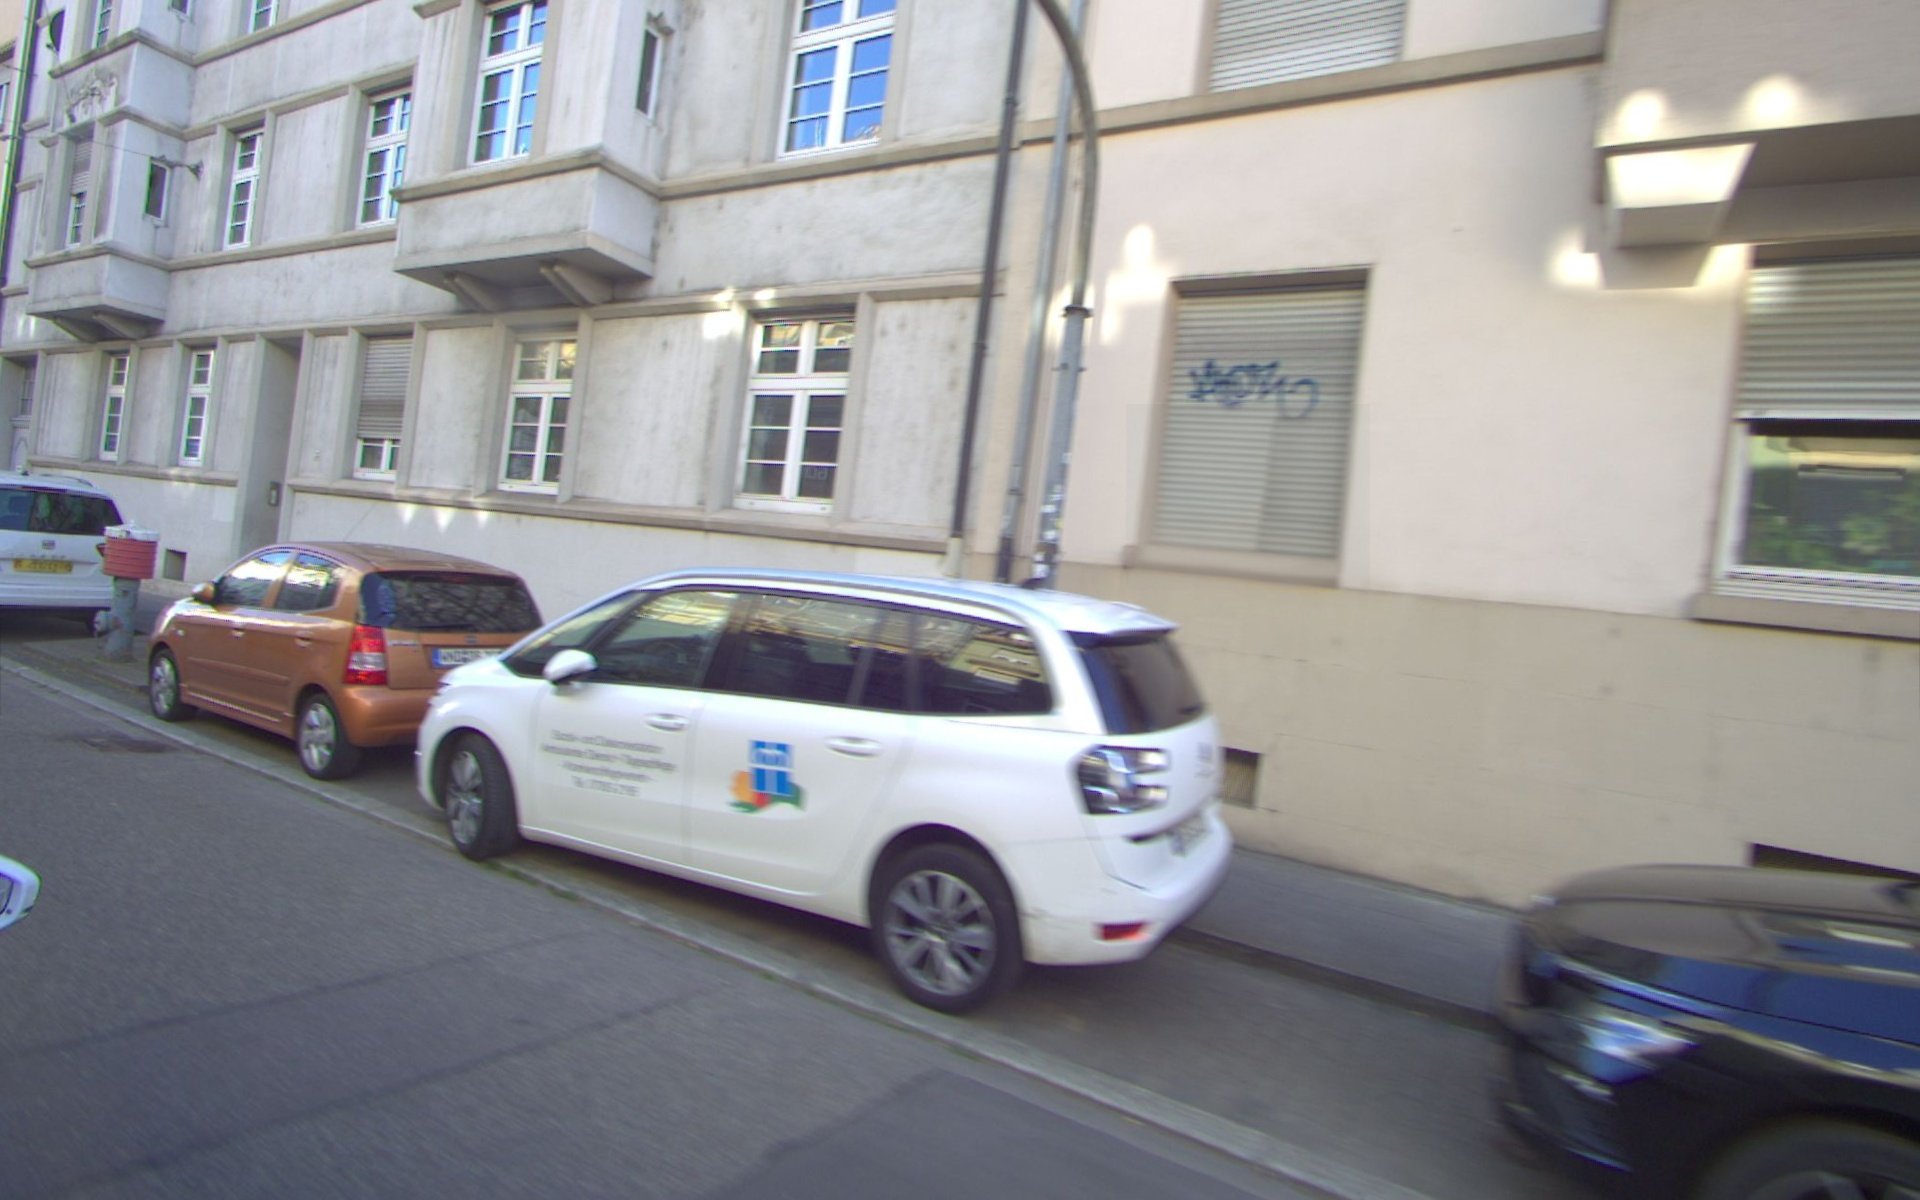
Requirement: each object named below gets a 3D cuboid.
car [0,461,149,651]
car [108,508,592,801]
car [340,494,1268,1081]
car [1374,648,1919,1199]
[{"bbox_3d":[-11.366,-0.664,11.486,4.608,1.850,1.733,7,0,32],"label":"car"},{"bbox_3d":[-4.726,0.309,7.692,3.540,1.579,1.617,7,0,32],"label":"car"},{"bbox_3d":[-0.954,0.602,5.257,4.522,1.773,1.659,7,0,27],"label":"car"},{"bbox_3d":[3.457,1.205,2.363,4.266,1.585,1.657,7,0,32],"label":"car"}]
